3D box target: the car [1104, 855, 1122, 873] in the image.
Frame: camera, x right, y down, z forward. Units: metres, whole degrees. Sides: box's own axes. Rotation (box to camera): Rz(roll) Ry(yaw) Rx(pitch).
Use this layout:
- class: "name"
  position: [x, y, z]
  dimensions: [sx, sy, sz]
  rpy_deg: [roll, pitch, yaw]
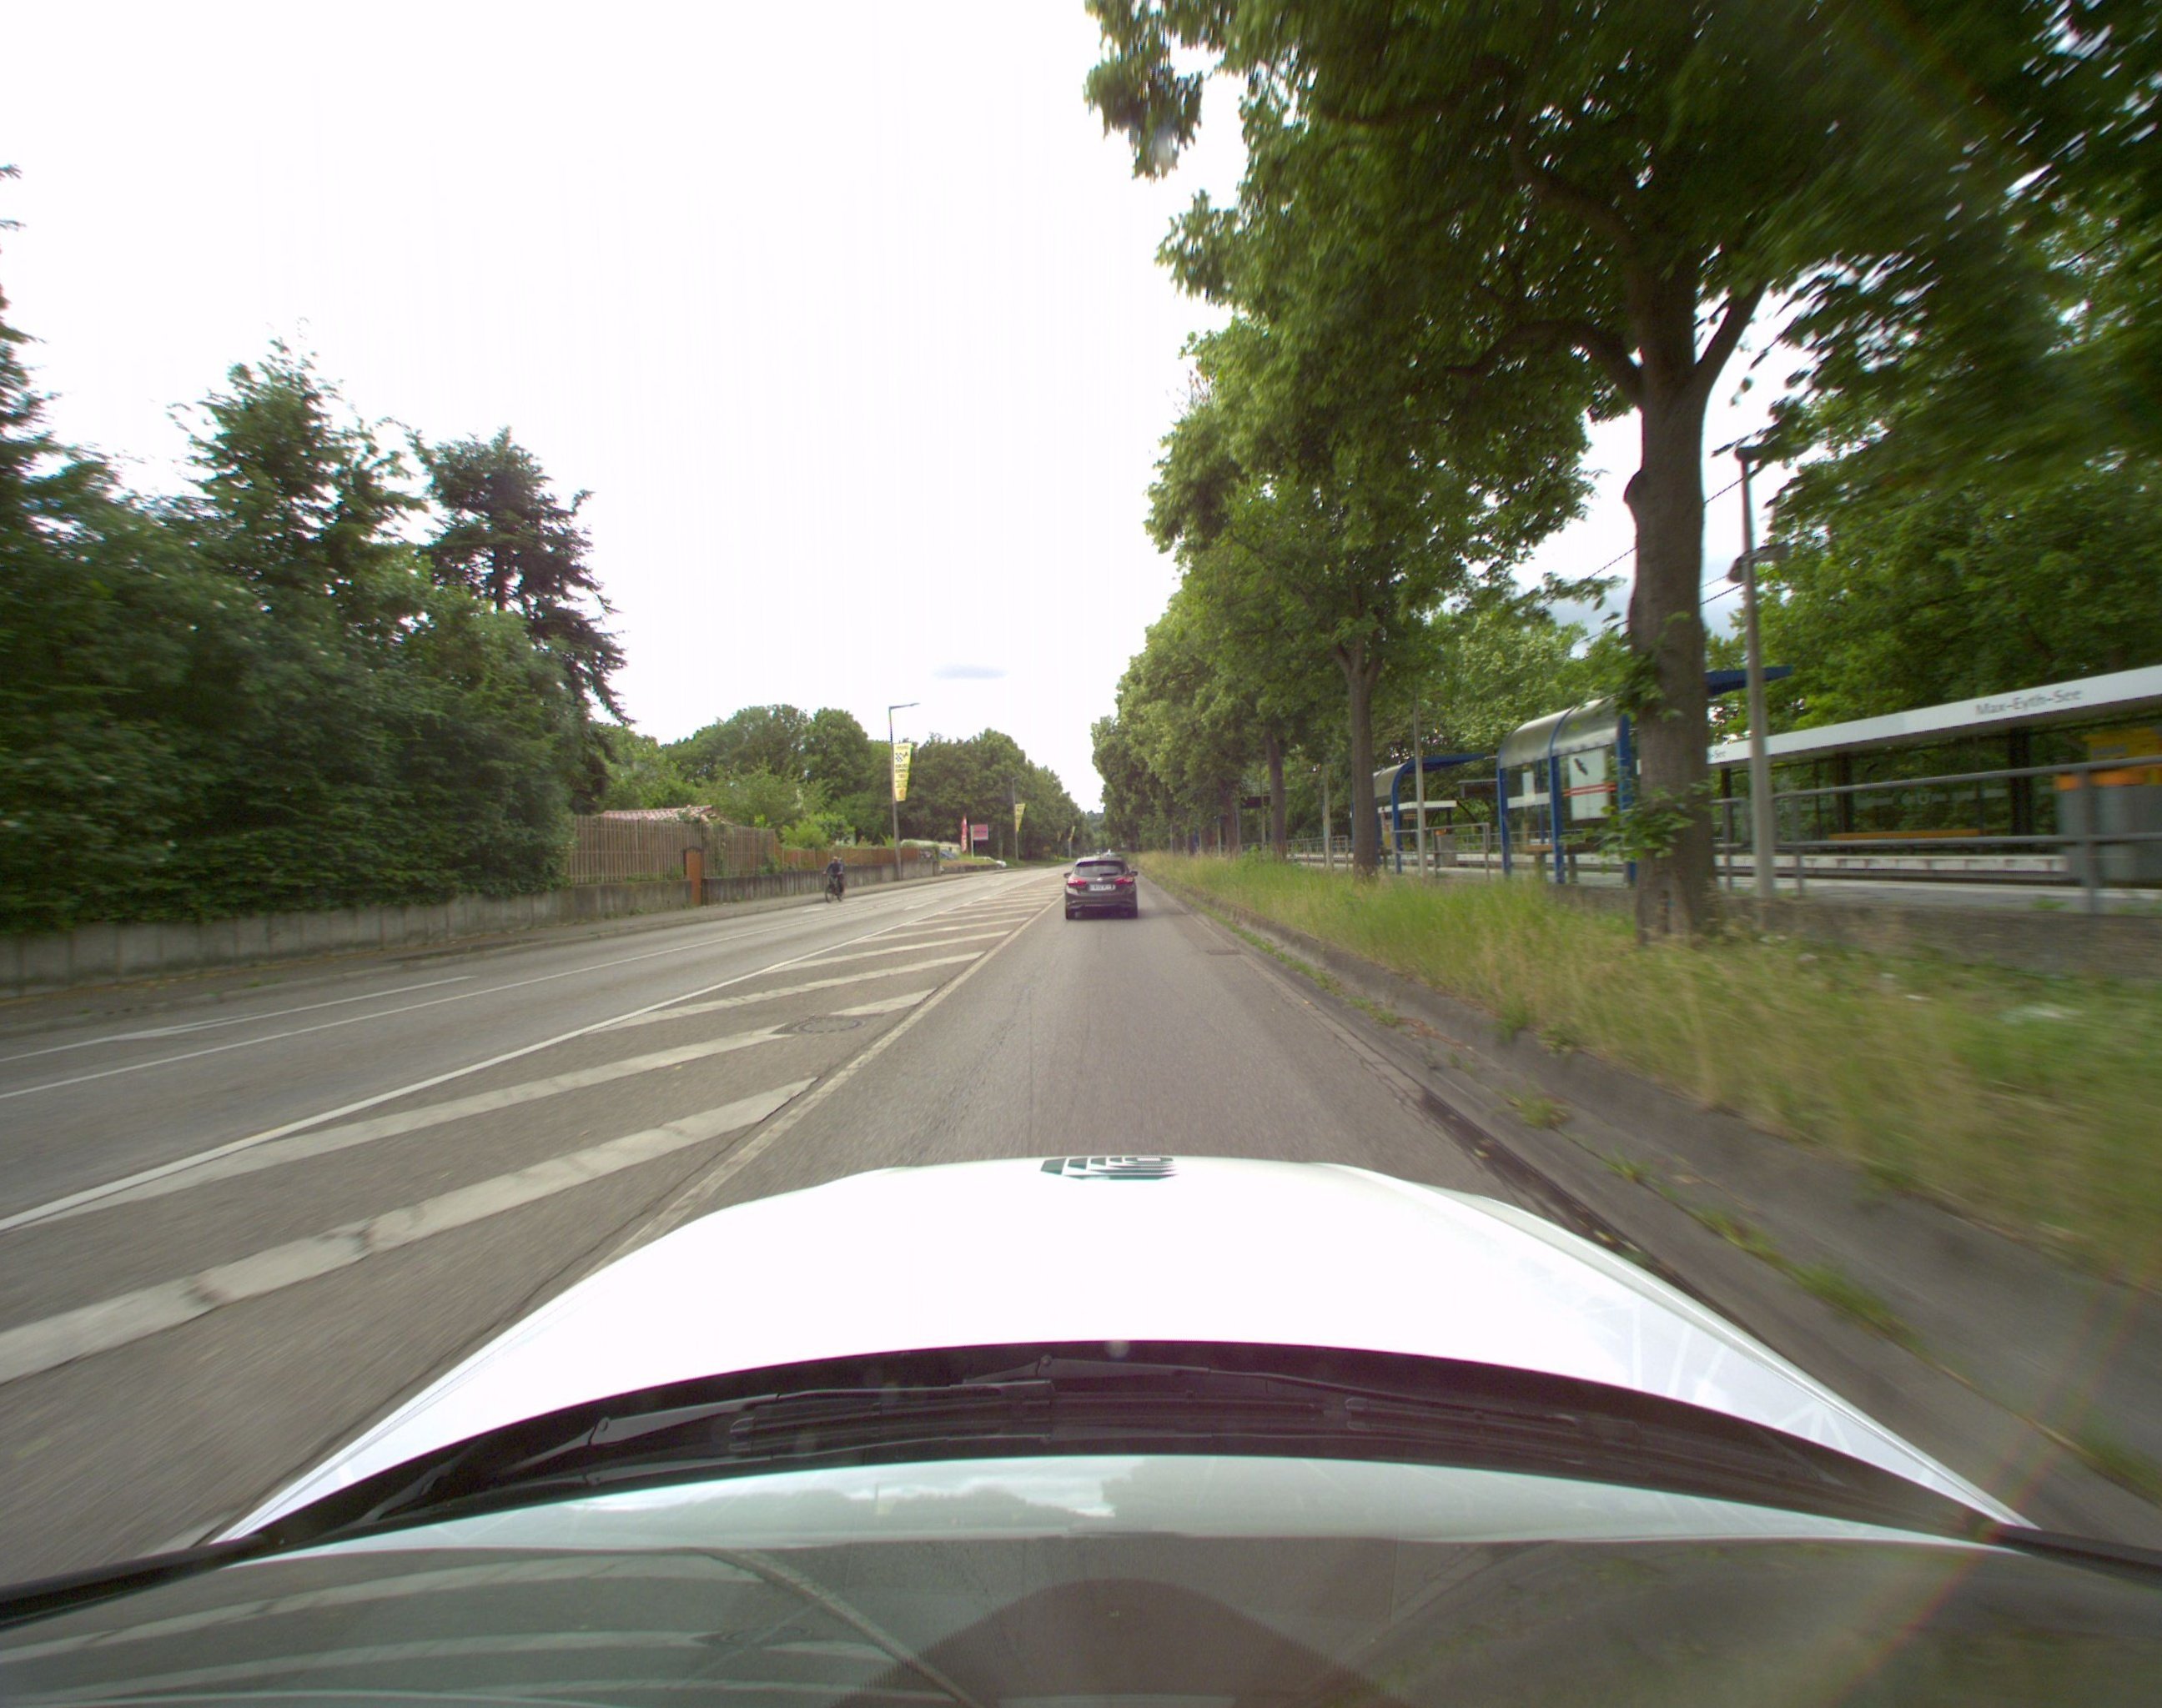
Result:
- class: "car"
  position: [2.954, 0.907, 75.167]
  dimensions: [1.496, 1.528, 3.675]
  rpy_deg: [-1, 0, 4]

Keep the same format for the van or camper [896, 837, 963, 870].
- class: "van or camper"
  position: [-17.711, -0.068, 95.808]
  dimensions: [7.114, 3.371, 2.798]
  rpy_deg: [3, 0, 2]

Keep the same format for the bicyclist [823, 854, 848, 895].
- class: "bicyclist"
  position: [-9.331, 0.769, 30.981]
  dimensions: [0.640, 1.535, 0.978]
  rpy_deg: [0, 0, -3]

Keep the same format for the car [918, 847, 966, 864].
- class: "car"
  position: [-12.903, 0.129, 75.683]
  dimensions: [3.966, 1.497, 1.862]
  rpy_deg: [-1, -1, 6]

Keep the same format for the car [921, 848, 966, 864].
- class: "car"
  position: [-13.058, 0.205, 77.558]
  dimensions: [3.966, 1.411, 1.536]
  rpy_deg: [-1, -1, 6]

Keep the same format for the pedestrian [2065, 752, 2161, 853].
- class: "pedestrian"
  position: [16.148, -0.779, 12.695]
  dimensions: [0.715, 1.511, 0.725]
  rpy_deg: [-1, -1, 4]

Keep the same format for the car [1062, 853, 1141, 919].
- class: "car"
  position: [0.623, 0.766, 21.137]
  dimensions: [1.829, 1.528, 3.933]
  rpy_deg: [-1, 0, 4]

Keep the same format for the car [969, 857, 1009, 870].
- class: "car"
  position: [-10.800, 1.094, 95.830]
  dimensions: [4.361, 1.441, 1.961]
  rpy_deg: [-1, 0, -1]

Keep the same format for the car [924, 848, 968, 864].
- class: "car"
  position: [-13.177, 0.242, 79.521]
  dimensions: [3.966, 1.492, 1.650]
  rpy_deg: [-1, -1, 6]

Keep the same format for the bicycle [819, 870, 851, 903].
- class: "bicycle"
  position: [-9.344, 1.217, 31.040]
  dimensions: [0.640, 1.145, 2.146]
  rpy_deg: [0, 0, -2]
